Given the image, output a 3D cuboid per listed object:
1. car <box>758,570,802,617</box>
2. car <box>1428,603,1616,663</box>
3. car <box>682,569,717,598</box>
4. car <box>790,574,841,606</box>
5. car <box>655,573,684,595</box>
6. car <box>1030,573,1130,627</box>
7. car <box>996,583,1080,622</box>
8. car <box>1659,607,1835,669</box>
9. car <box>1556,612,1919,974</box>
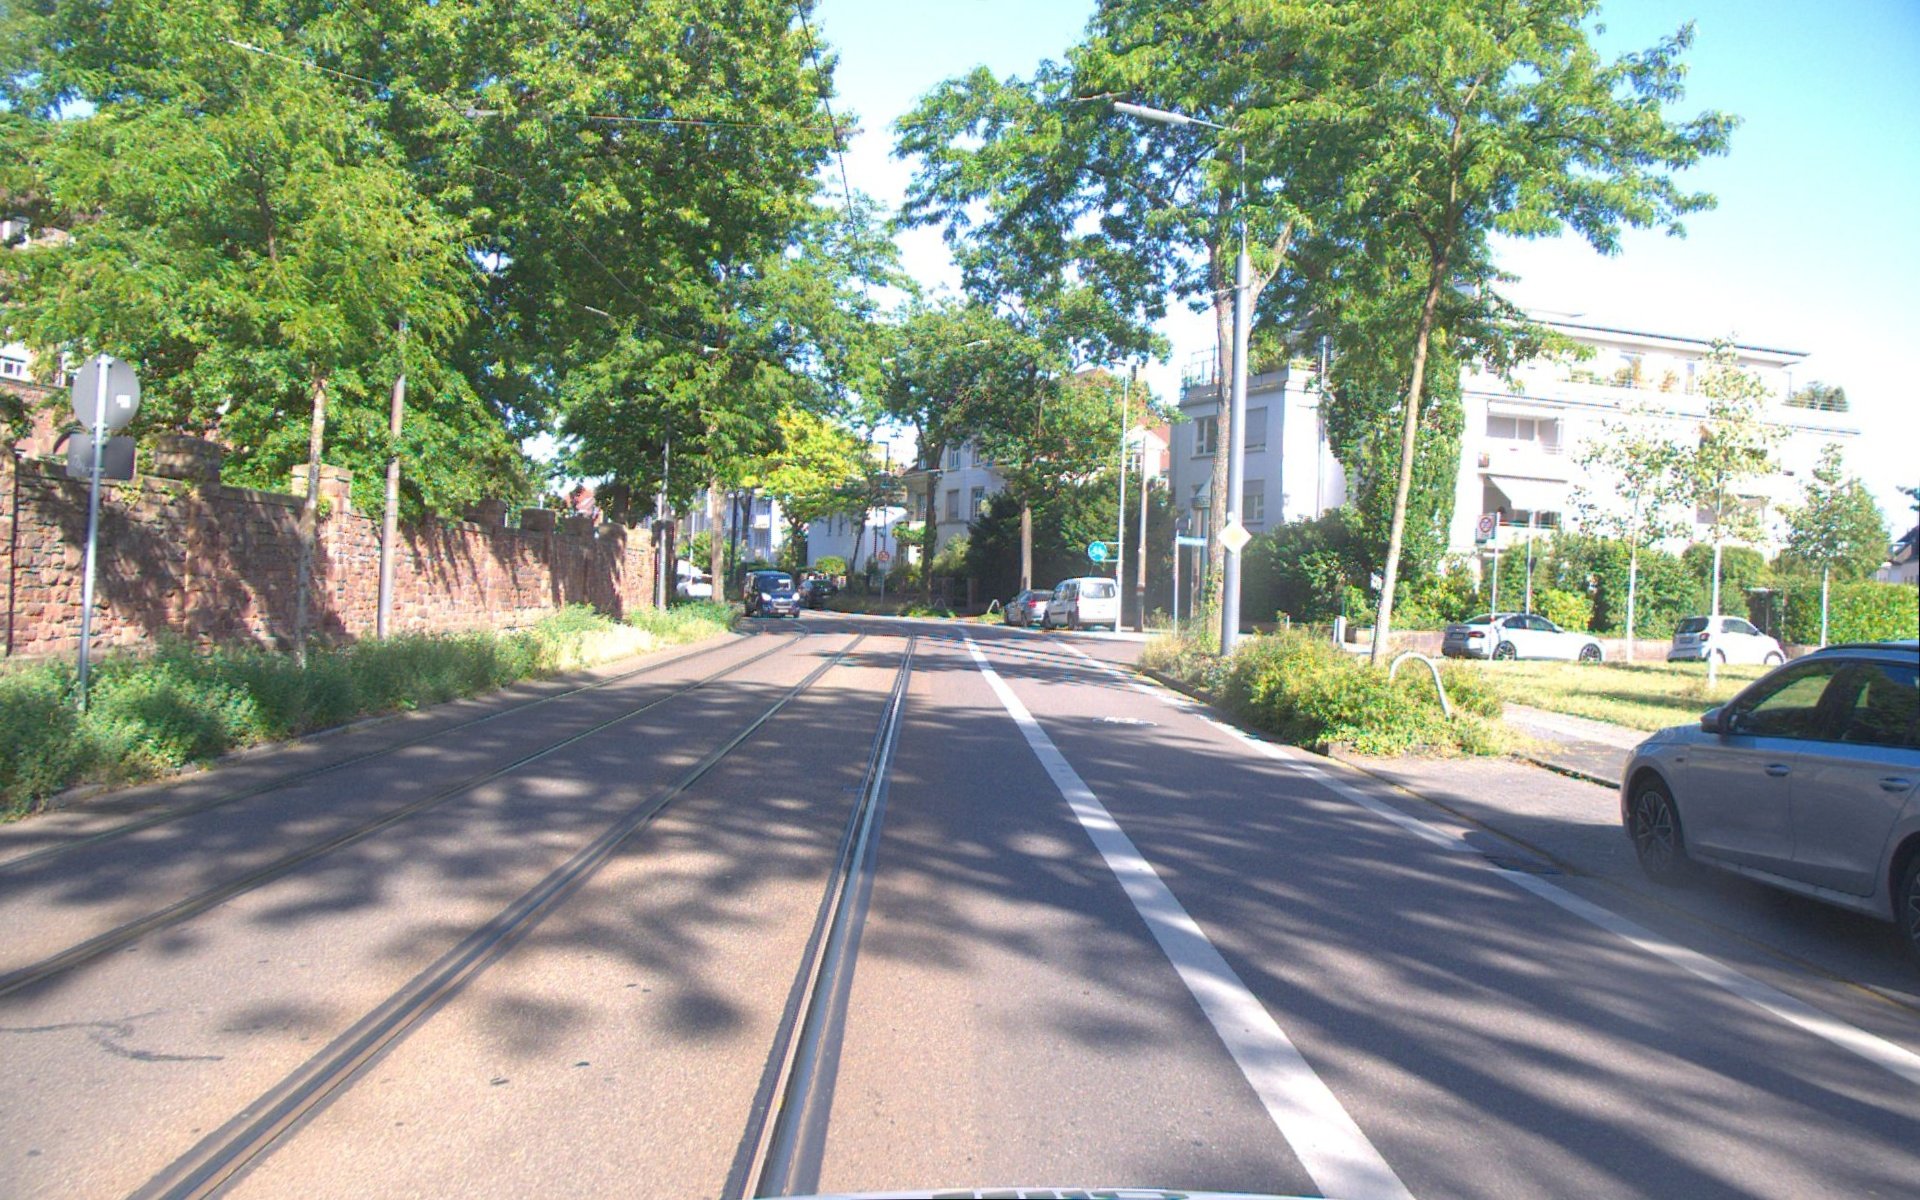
[{"bbox_3d":[-7.439,-0.287,68.626,1.601,1.823,4.334,2,1,-4],"label":"car"},{"bbox_3d":[14.838,0.877,43.690,4.442,1.393,1.958,2,0,-19],"label":"car"},{"bbox_3d":[-16.441,-0.996,104.265,1.860,1.639,4.214,2,-1,-13],"label":"car"},{"bbox_3d":[-8.447,-0.601,96.505,1.778,1.723,4.701,-2,2,-20],"label":"car"},{"bbox_3d":[-21.338,-1.185,121.399,1.958,1.467,3.989,2,1,-12],"label":"car"},{"bbox_3d":[4.215,-0.033,58.891,1.990,1.777,4.731,2,1,-16],"label":"car"},{"bbox_3d":[3.006,0.084,64.759,1.962,1.448,4.312,2,0,-17],"label":"car"},{"bbox_3d":[21.815,1.065,45.870,4.206,1.537,1.833,2,-2,-13],"label":"car"},{"bbox_3d":[5.142,0.872,8.538,1.960,1.491,5.430,-1,0,-2],"label":"car"}]
